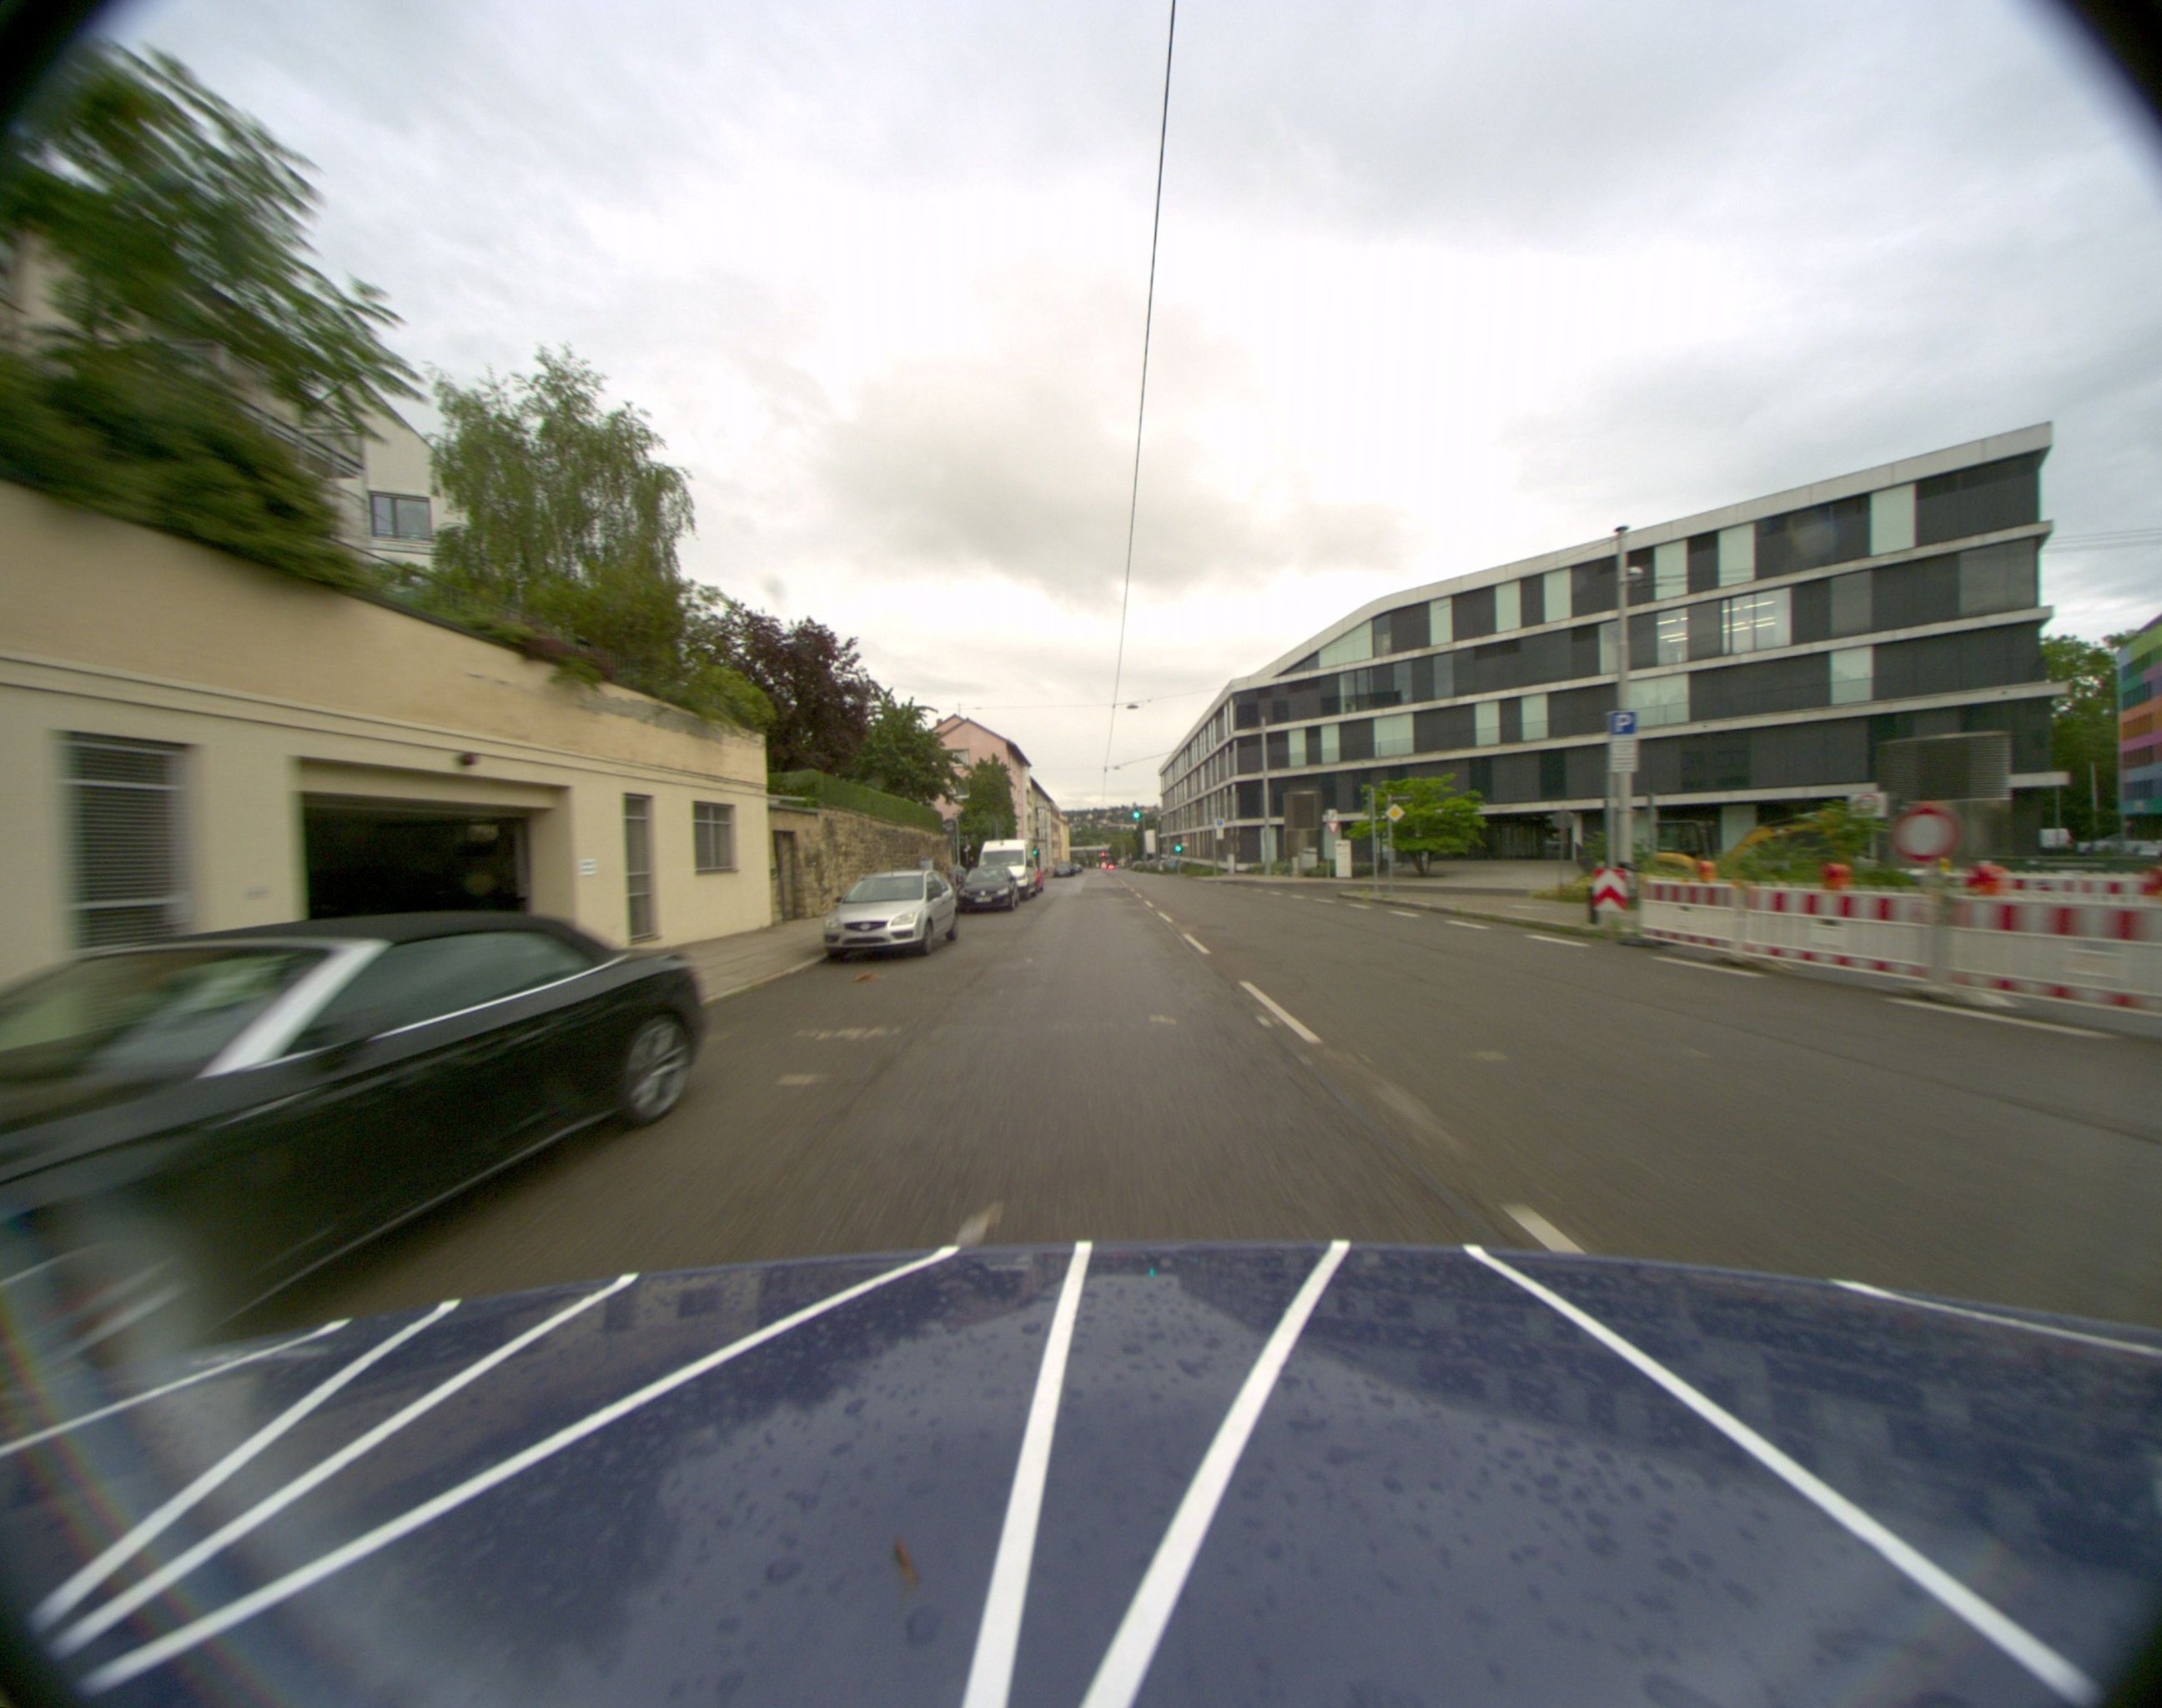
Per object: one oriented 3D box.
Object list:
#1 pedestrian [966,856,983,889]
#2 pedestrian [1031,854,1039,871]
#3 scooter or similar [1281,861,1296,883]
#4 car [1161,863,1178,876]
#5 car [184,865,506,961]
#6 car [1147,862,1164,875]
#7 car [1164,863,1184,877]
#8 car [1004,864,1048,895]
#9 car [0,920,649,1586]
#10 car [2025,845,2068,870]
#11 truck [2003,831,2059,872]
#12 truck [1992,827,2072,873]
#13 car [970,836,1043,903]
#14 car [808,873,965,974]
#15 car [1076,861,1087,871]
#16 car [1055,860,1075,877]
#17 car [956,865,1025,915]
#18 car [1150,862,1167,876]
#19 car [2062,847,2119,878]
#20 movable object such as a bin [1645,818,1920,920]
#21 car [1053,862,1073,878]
[{"bbox_3d":[-5.703,0.982,40.665,0.725,1.705,0.905,0,-1,2],"label":"pedestrian"},{"bbox_3d":[-4.881,0.912,80.408,0.715,1.763,0.748,1,-1,1],"label":"pedestrian"},{"bbox_3d":[12.007,1.025,43.956,0.497,1.241,1.232,-3,0,2],"label":"scooter or similar"},{"bbox_3d":[9.871,1.735,85.015,1.641,1.457,3.585,-2,-1,2],"label":"car"},{"bbox_3d":[-13.636,1.008,14.533,1.890,1.339,4.203,-2,1,3],"label":"car"},{"bbox_3d":[9.994,1.906,102.292,1.834,1.579,4.364,-4,-1,2],"label":"car"},{"bbox_3d":[9.756,1.691,80.207,1.641,1.457,3.584,-2,-1,0],"label":"car"},{"bbox_3d":[-2.756,1.257,39.169,1.725,1.412,4.204,-3,-1,2],"label":"car"},{"bbox_3d":[-3.504,1.138,2.744,1.633,1.445,3.760,-3,-1,1],"label":"car"},{"bbox_3d":[82.791,0.323,65.204,4.009,2.001,1.795,1,-2,-45],"label":"car"},{"bbox_3d":[105.340,-0.169,84.402,8.018,4.336,2.992,1,-2,-45],"label":"truck"},{"bbox_3d":[119.564,-0.295,95.795,13.935,5.365,4.809,1,-2,-45],"label":"truck"},{"bbox_3d":[-3.038,0.647,32.328,2.211,2.448,6.081,-3,-1,2],"label":"car"},{"bbox_3d":[-3.397,1.154,14.118,1.693,1.445,4.236,-3,-1,1],"label":"car"},{"bbox_3d":[0.171,2.264,144.130,1.911,1.864,4.751,-2,-1,2],"label":"car"},{"bbox_3d":[-1.820,1.678,86.163,1.968,1.763,4.513,-4,-1,1],"label":"car"},{"bbox_3d":[-2.922,1.130,25.414,1.693,1.445,4.236,-3,-1,1],"label":"car"},{"bbox_3d":[9.718,1.853,96.012,1.886,1.579,4.364,-4,-1,3],"label":"car"},{"bbox_3d":[69.395,0.619,52.306,4.009,2.001,1.795,1,-2,-45],"label":"car"},{"bbox_3d":[18.960,0.422,20.842,1.674,2.444,5.275,-2,0,-38],"label":"movable object such as a bin"},{"bbox_3d":[-1.903,1.691,81.240,1.796,1.510,4.513,-3,-1,1],"label":"car"}]
